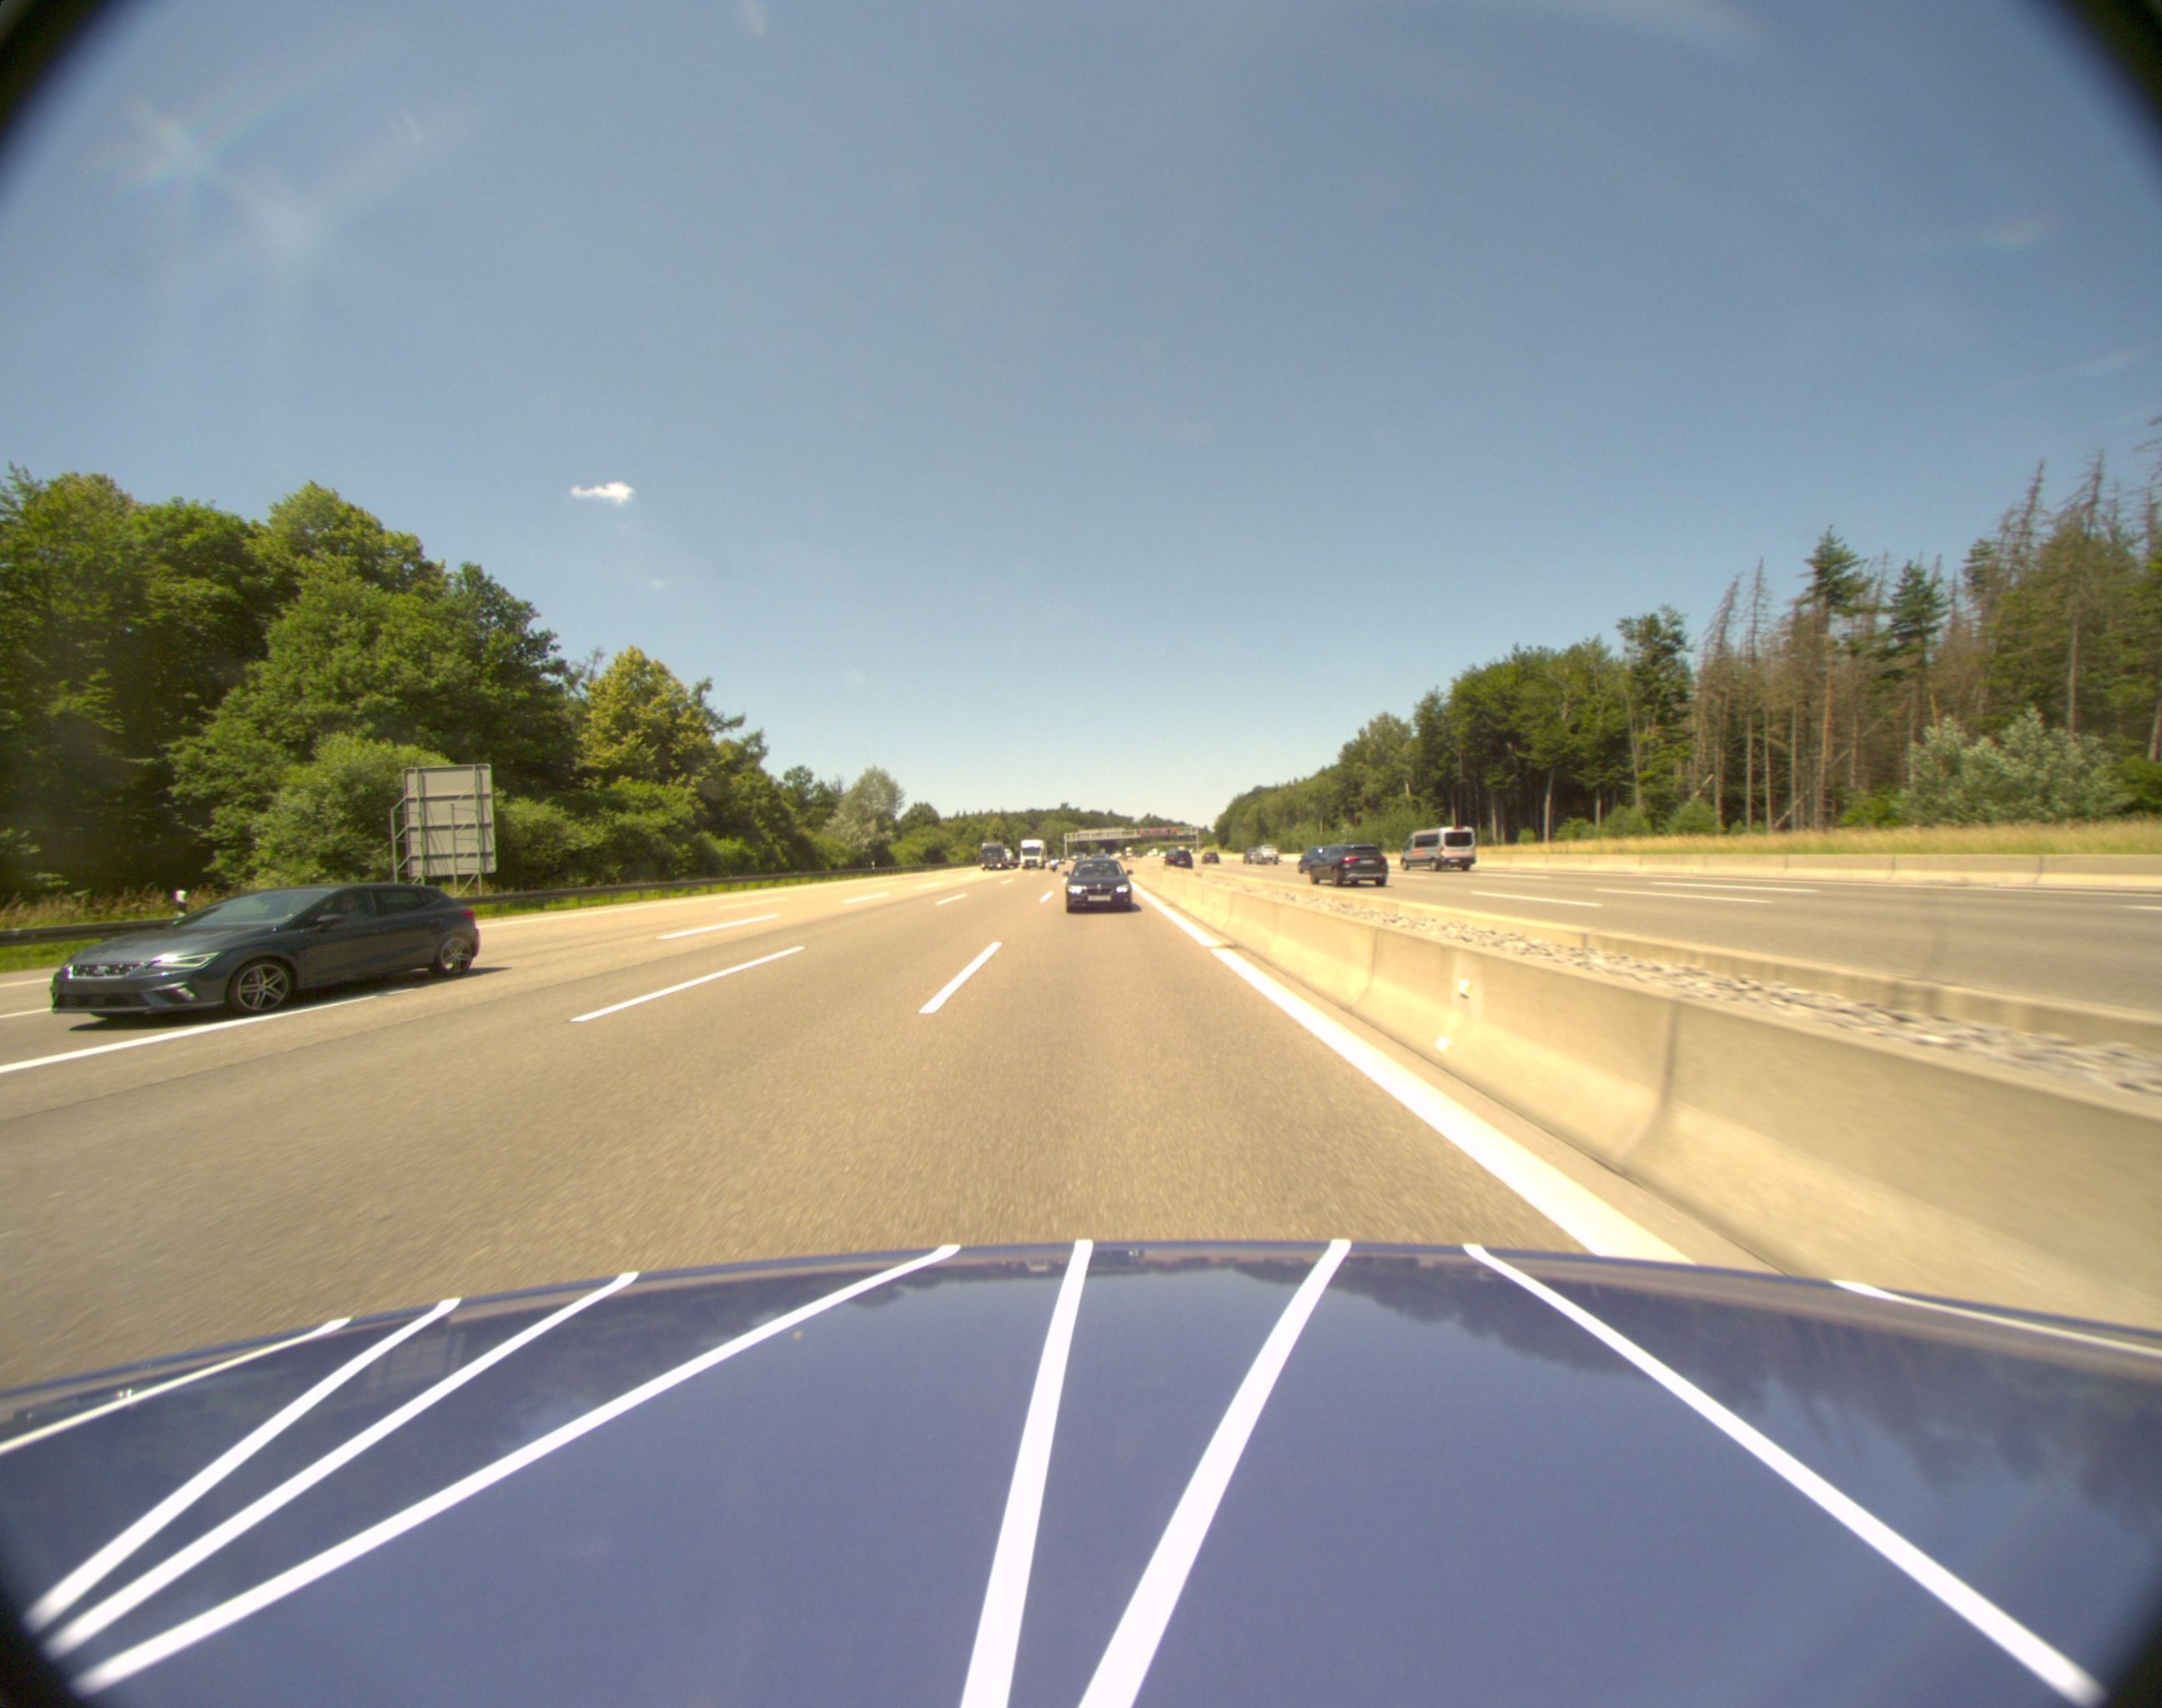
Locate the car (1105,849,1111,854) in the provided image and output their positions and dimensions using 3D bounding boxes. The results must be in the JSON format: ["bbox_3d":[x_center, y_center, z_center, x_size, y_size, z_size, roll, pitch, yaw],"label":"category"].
[{"bbox_3d":[8.647,-0.855,243.870,1.910,1.450,4.128,-2,1,4],"label":"car"}]

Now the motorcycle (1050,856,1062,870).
[{"bbox_3d":[-2.357,0.831,71.359,0.925,1.311,2.997,-3,0,0],"label":"motorcycle"}]

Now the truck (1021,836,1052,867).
[{"bbox_3d":[-4.983,-0.282,86.618,2.428,3.237,8.690,-2,1,3],"label":"truck"}]

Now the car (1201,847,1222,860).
[{"bbox_3d":[15.685,-0.059,91.598,1.734,1.455,4.576,-2,0,1],"label":"car"}]

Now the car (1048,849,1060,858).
[{"bbox_3d":[-5.378,-0.056,151.476,1.998,1.671,4.127,-2,1,2],"label":"car"}]

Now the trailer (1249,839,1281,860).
[{"bbox_3d":[18.959,-0.479,78.595,1.859,2.039,6.152,-2,0,1],"label":"trailer"}]

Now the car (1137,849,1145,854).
[{"bbox_3d":[17.971,-0.758,227.233,1.998,1.636,4.000,-2,1,2],"label":"car"}]

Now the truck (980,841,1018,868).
[{"bbox_3d":[-9.155,-0.010,86.083,2.660,2.839,10.885,-2,1,2],"label":"truck"}]

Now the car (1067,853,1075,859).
[{"bbox_3d":[-2.383,0.441,189.524,1.649,1.346,4.001,-2,0,3],"label":"car"}]

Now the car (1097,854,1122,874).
[{"bbox_3d":[2.330,0.819,62.965,1.834,1.454,4.203,-2,1,0],"label":"car"}]

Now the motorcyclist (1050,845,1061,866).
[{"bbox_3d":[-2.397,0.168,71.217,0.914,1.926,0.905,-2,1,2],"label":"motorcyclist"}]

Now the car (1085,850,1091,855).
[{"bbox_3d":[2.191,-0.398,246.695,1.819,1.546,4.127,-2,1,2],"label":"car"}]

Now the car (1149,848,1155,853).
[{"bbox_3d":[23.155,-1.143,248.048,1.763,1.346,4.000,-2,1,3],"label":"car"}]

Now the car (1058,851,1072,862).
[{"bbox_3d":[-2.542,0.334,121.604,1.998,1.671,4.127,-2,1,2],"label":"car"}]

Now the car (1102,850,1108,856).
[{"bbox_3d":[7.143,-0.315,224.987,1.910,1.450,4.127,-2,1,2],"label":"car"}]

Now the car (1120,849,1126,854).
[{"bbox_3d":[13.801,-0.799,249.470,1.910,1.450,4.127,-2,1,3],"label":"car"}]

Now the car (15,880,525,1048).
[{"bbox_3d":[-9.992,1.211,10.092,1.647,1.430,4.635,-2,1,2],"label":"car"}]

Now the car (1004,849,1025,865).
[{"bbox_3d":[-8.430,0.327,96.422,1.998,1.885,4.870,-2,1,2],"label":"car"}]

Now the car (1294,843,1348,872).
[{"bbox_3d":[14.124,0.178,44.935,1.734,1.561,4.673,-2,0,1],"label":"car"}]

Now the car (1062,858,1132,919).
[{"bbox_3d":[0.455,0.877,21.524,1.741,1.450,4.542,-2,0,1],"label":"car"}]

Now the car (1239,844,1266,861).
[{"bbox_3d":[19.058,-0.193,84.487,1.818,1.748,5.582,-2,0,1],"label":"car"}]

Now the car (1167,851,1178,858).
[{"bbox_3d":[18.529,0.126,153.415,1.734,1.455,4.783,-2,0,1],"label":"car"}]

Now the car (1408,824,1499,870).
[{"bbox_3d":[20.980,-0.382,43.146,1.953,2.398,6.345,-2,0,-1],"label":"car"}]

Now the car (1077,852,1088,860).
[{"bbox_3d":[0.295,0.436,162.155,1.998,1.671,4.127,-2,1,2],"label":"car"}]

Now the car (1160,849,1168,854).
[{"bbox_3d":[23.360,-0.745,213.728,1.998,1.392,3.867,-2,1,2],"label":"car"}]

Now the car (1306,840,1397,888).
[{"bbox_3d":[10.474,0.354,29.835,1.832,1.689,5.003,-2,0,1],"label":"car"}]

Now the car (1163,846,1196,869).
[{"bbox_3d":[7.471,0.257,58.032,1.854,1.668,5.044,-2,0,1],"label":"car"}]
